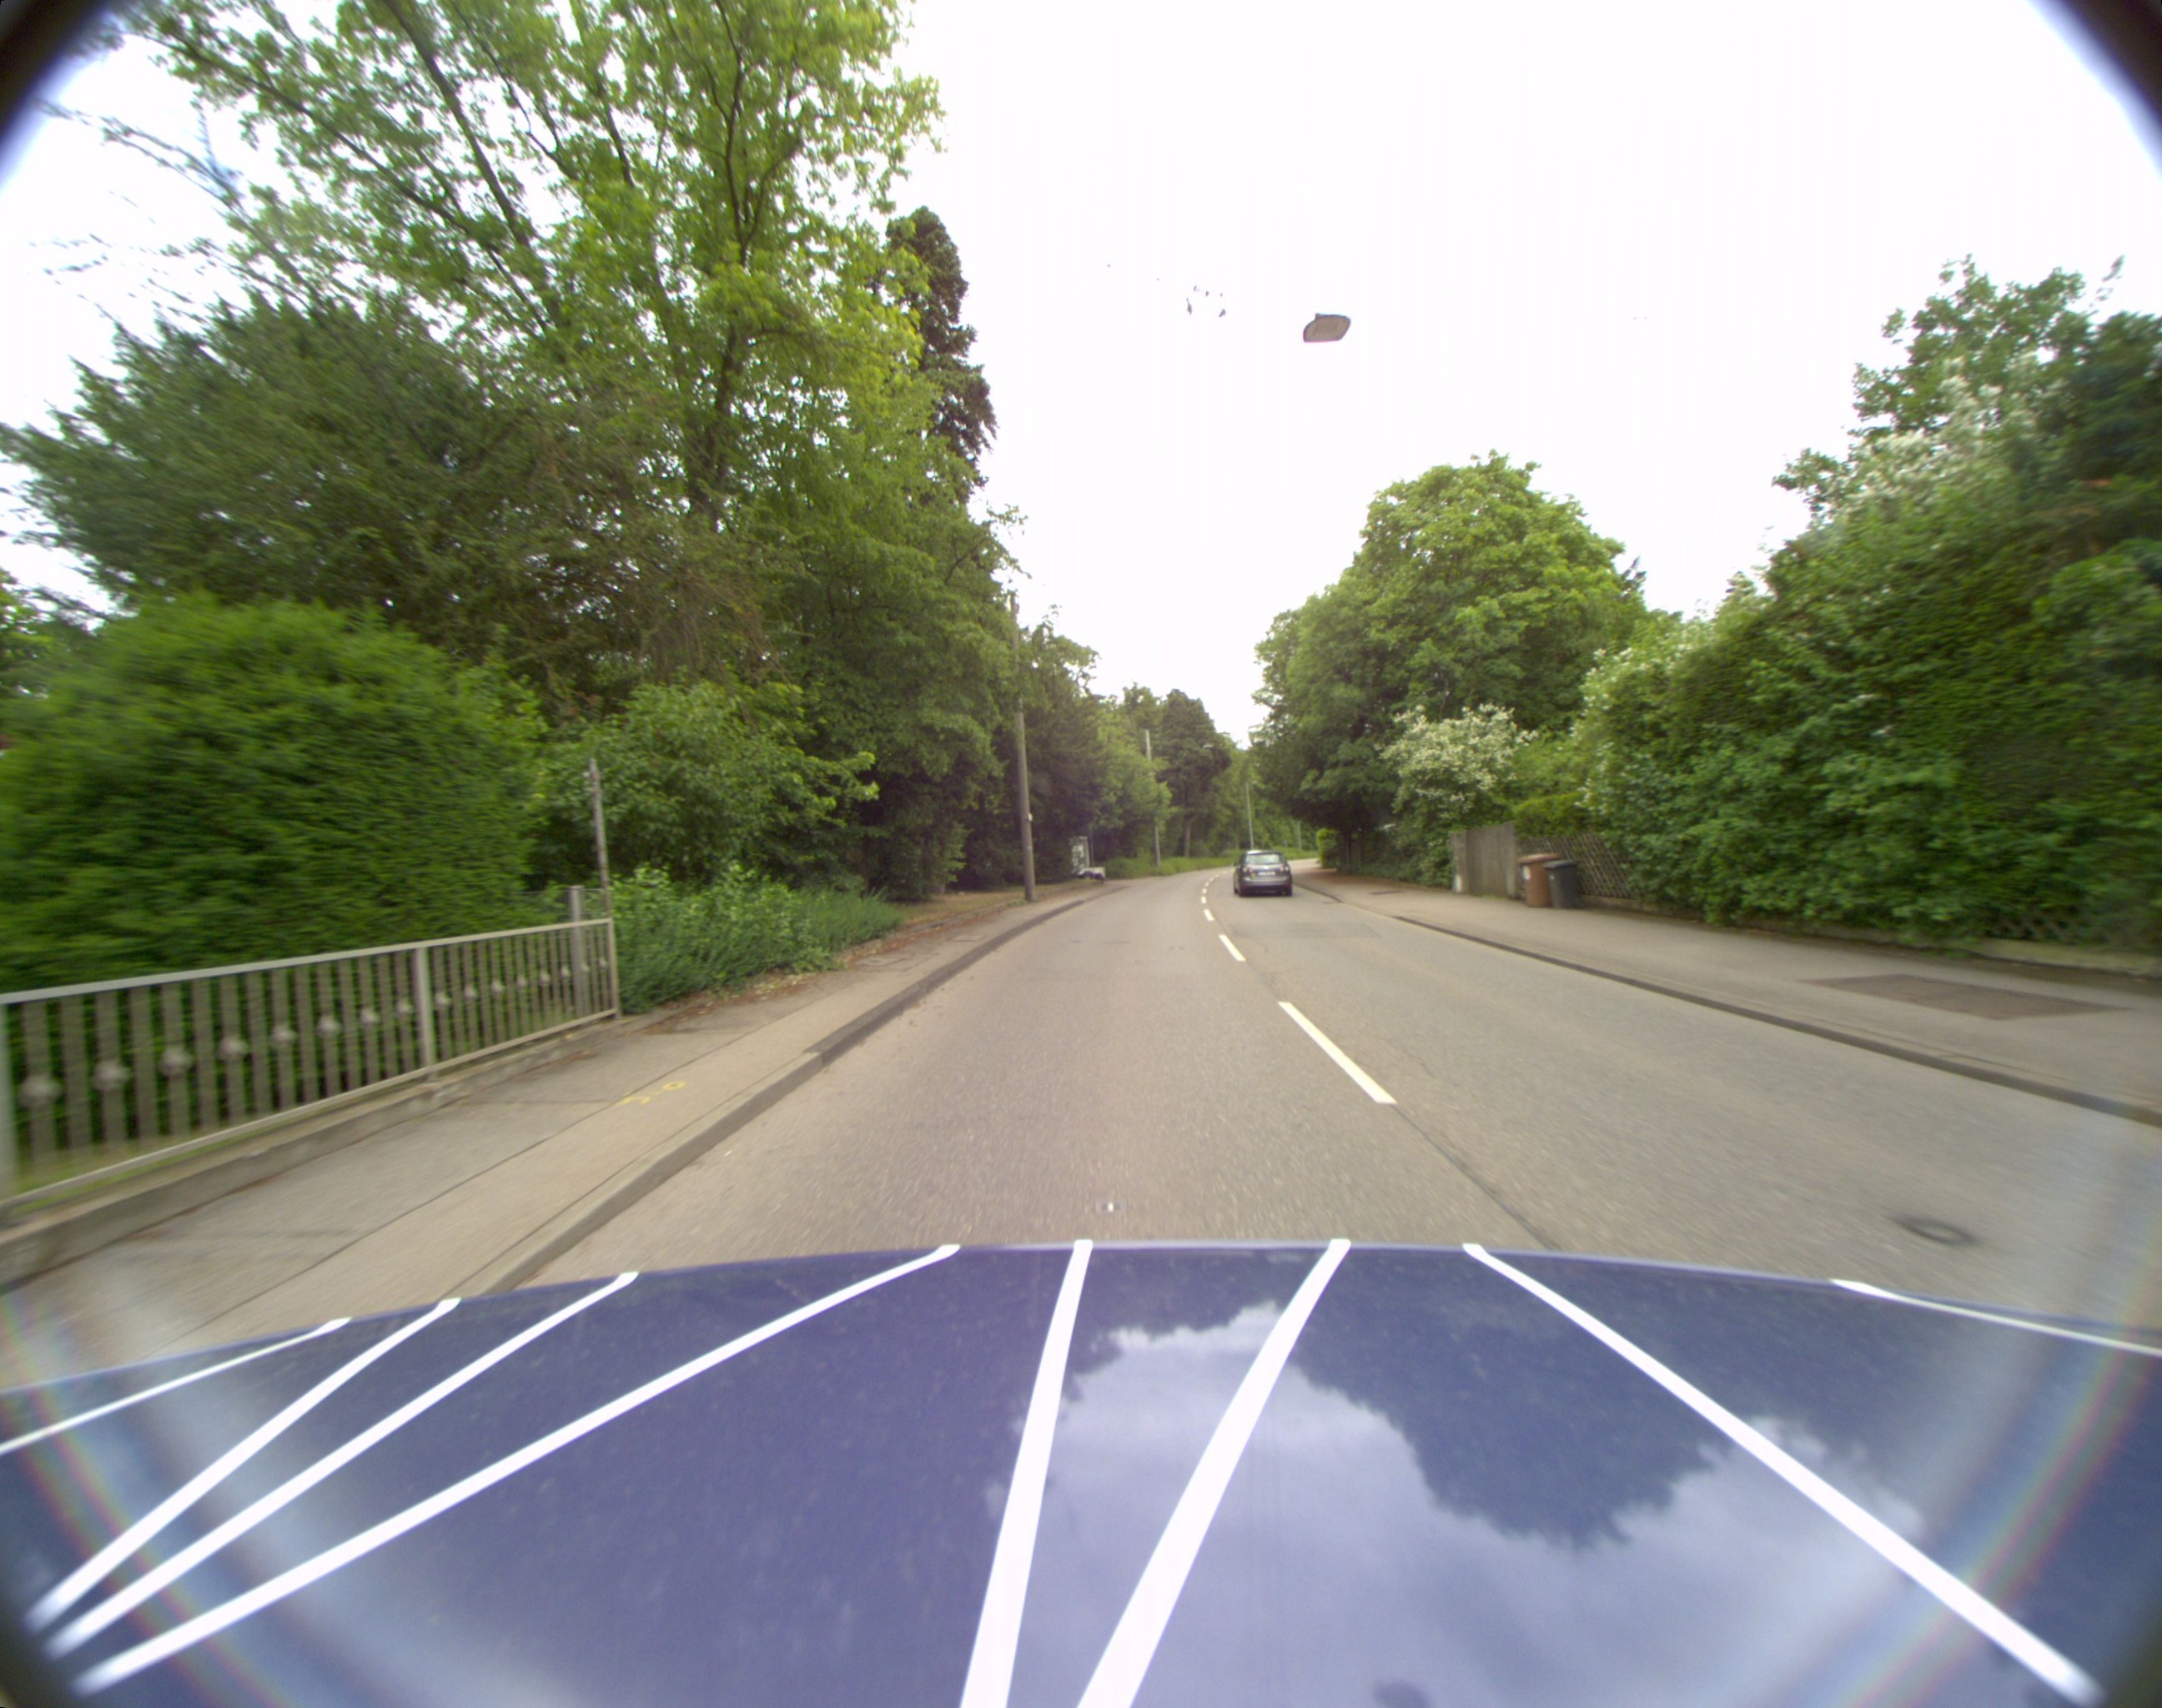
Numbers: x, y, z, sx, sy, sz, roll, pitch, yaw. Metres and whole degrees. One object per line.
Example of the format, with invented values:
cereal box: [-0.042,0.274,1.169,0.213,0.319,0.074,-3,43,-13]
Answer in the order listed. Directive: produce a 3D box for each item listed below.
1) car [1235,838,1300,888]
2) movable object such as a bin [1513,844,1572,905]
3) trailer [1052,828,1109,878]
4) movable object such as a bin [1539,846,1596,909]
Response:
car: [6.411,0.269,26.520,1.997,1.609,4.003,0,1,10]
movable object such as a bin: [9.327,0.405,15.378,0.742,1.135,0.647,-5,1,5]
trailer: [-0.008,-0.040,46.631,3.122,2.883,1.594,-3,1,11]
movable object such as a bin: [9.309,0.438,14.560,0.630,1.138,0.647,-5,1,5]
